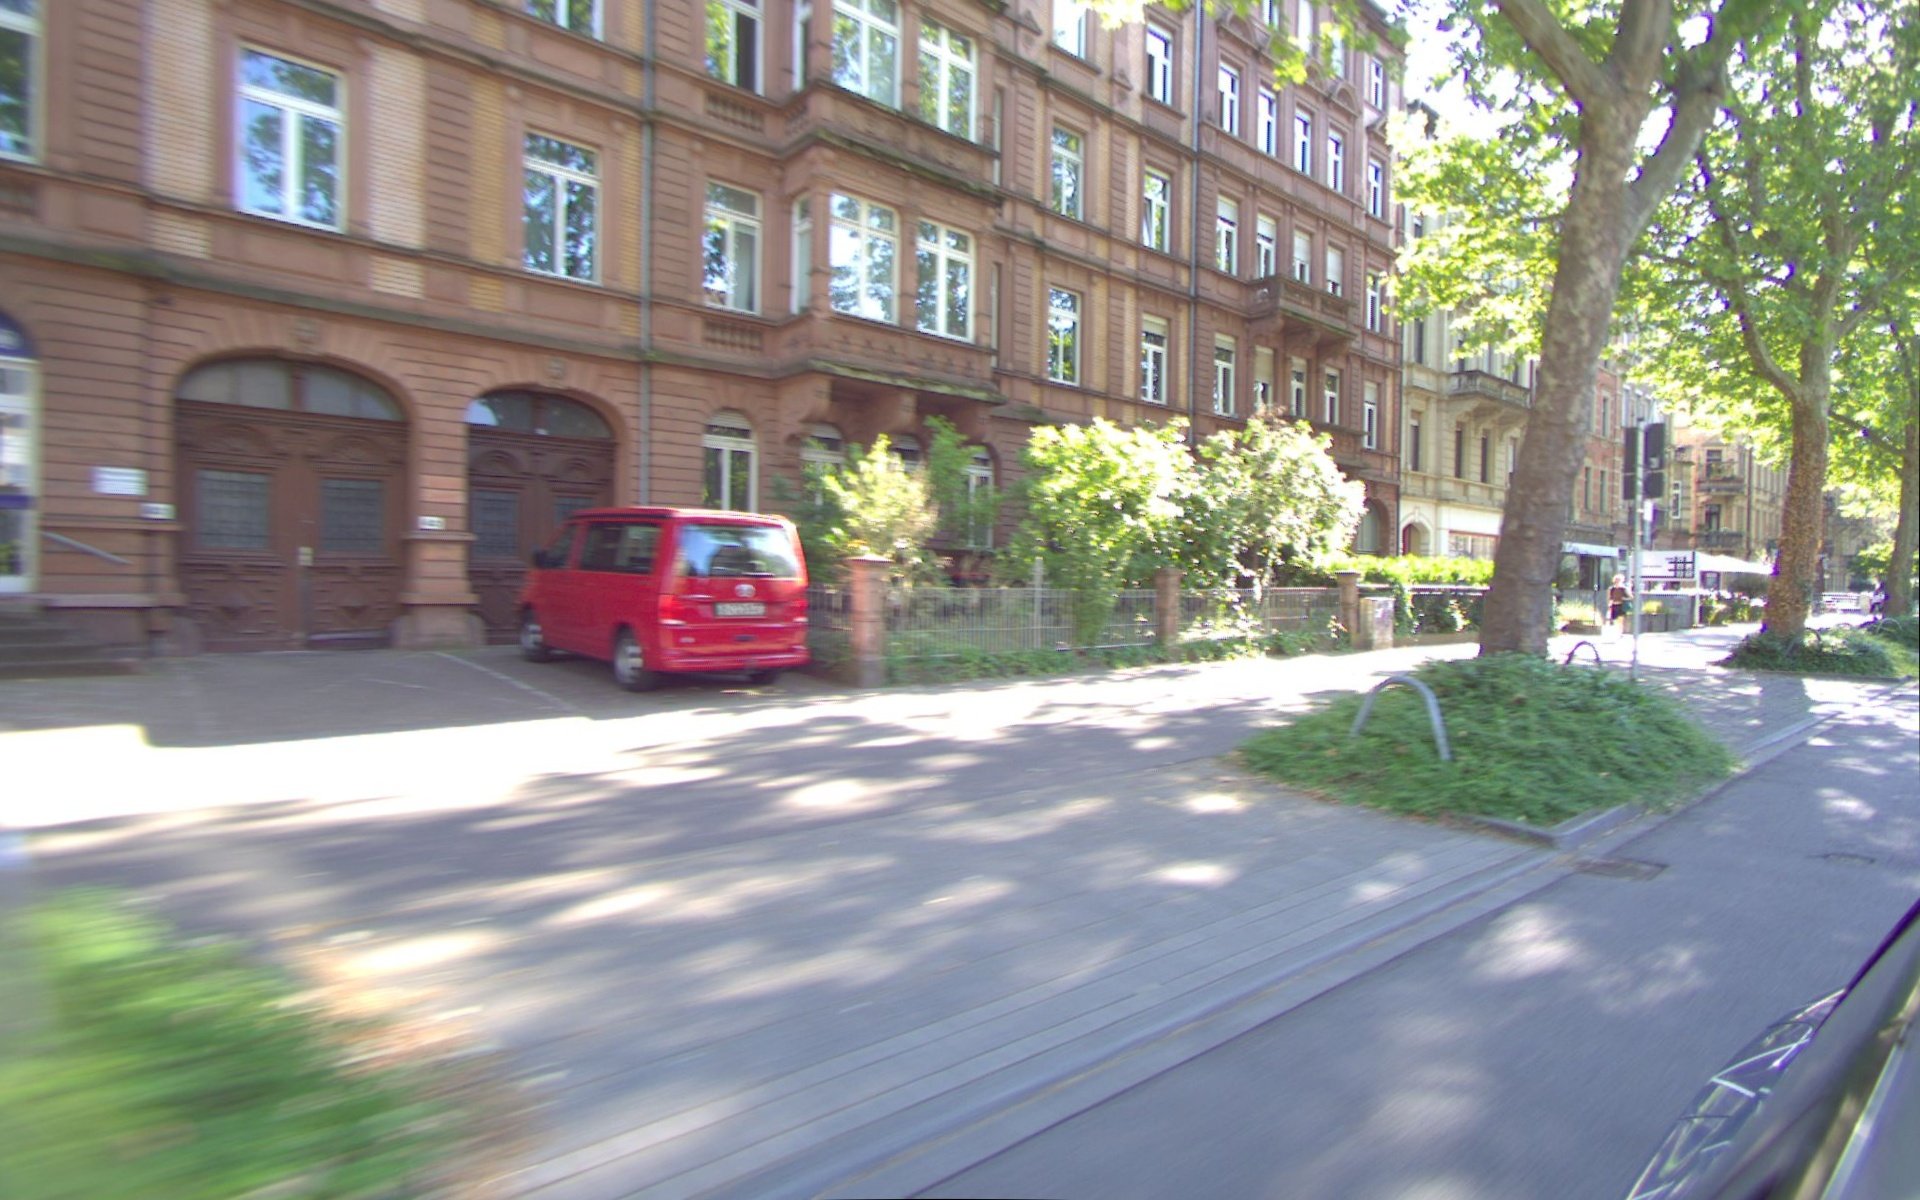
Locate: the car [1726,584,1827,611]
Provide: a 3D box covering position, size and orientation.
[{"bbox_3d":[48.982,-0.164,60.752,4.603,1.567,1.892,1,1,45],"label":"car"}]

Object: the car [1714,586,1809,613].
[{"bbox_3d":[45.270,-0.059,57.203,1.714,1.382,3.991,2,0,-44],"label":"car"}]

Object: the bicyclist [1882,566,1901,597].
[{"bbox_3d":[43.495,-0.847,47.267,0.633,1.398,0.543,2,-3,-43],"label":"bicyclist"}]

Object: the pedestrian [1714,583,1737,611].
[{"bbox_3d":[36.548,-0.159,48.313,0.651,1.316,0.714,0,1,-40],"label":"pedestrian"}]

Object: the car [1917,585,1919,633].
[{"bbox_3d":[33.359,0.297,33.627,4.719,1.556,1.736,-1,1,-40],"label":"car"}]

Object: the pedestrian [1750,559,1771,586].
[{"bbox_3d":[38.728,-1.322,48.948,0.651,1.316,0.714,0,1,-42],"label":"pedestrian"}]

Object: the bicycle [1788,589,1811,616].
[{"bbox_3d":[37.375,0.086,45.047,1.863,1.157,0.476,0,3,-42],"label":"bicycle"}]

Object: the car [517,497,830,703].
[{"bbox_3d":[-3.595,-0.131,12.194,1.966,2.038,4.183,0,4,-42],"label":"car"}]

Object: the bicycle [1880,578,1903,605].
[{"bbox_3d":[43.445,-0.406,47.199,2.188,1.193,0.561,-1,-2,-43],"label":"bicycle"}]

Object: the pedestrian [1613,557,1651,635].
[{"bbox_3d":[17.839,-0.121,26.877,0.622,2.039,0.674,0,1,-41],"label":"pedestrian"}]

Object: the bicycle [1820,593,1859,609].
[{"bbox_3d":[51.957,0.071,59.825,1.687,0.928,0.594,1,1,38],"label":"bicycle"}]

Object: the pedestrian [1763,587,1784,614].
[{"bbox_3d":[39.812,0.026,49.541,0.651,1.316,0.714,0,1,-42],"label":"pedestrian"}]
